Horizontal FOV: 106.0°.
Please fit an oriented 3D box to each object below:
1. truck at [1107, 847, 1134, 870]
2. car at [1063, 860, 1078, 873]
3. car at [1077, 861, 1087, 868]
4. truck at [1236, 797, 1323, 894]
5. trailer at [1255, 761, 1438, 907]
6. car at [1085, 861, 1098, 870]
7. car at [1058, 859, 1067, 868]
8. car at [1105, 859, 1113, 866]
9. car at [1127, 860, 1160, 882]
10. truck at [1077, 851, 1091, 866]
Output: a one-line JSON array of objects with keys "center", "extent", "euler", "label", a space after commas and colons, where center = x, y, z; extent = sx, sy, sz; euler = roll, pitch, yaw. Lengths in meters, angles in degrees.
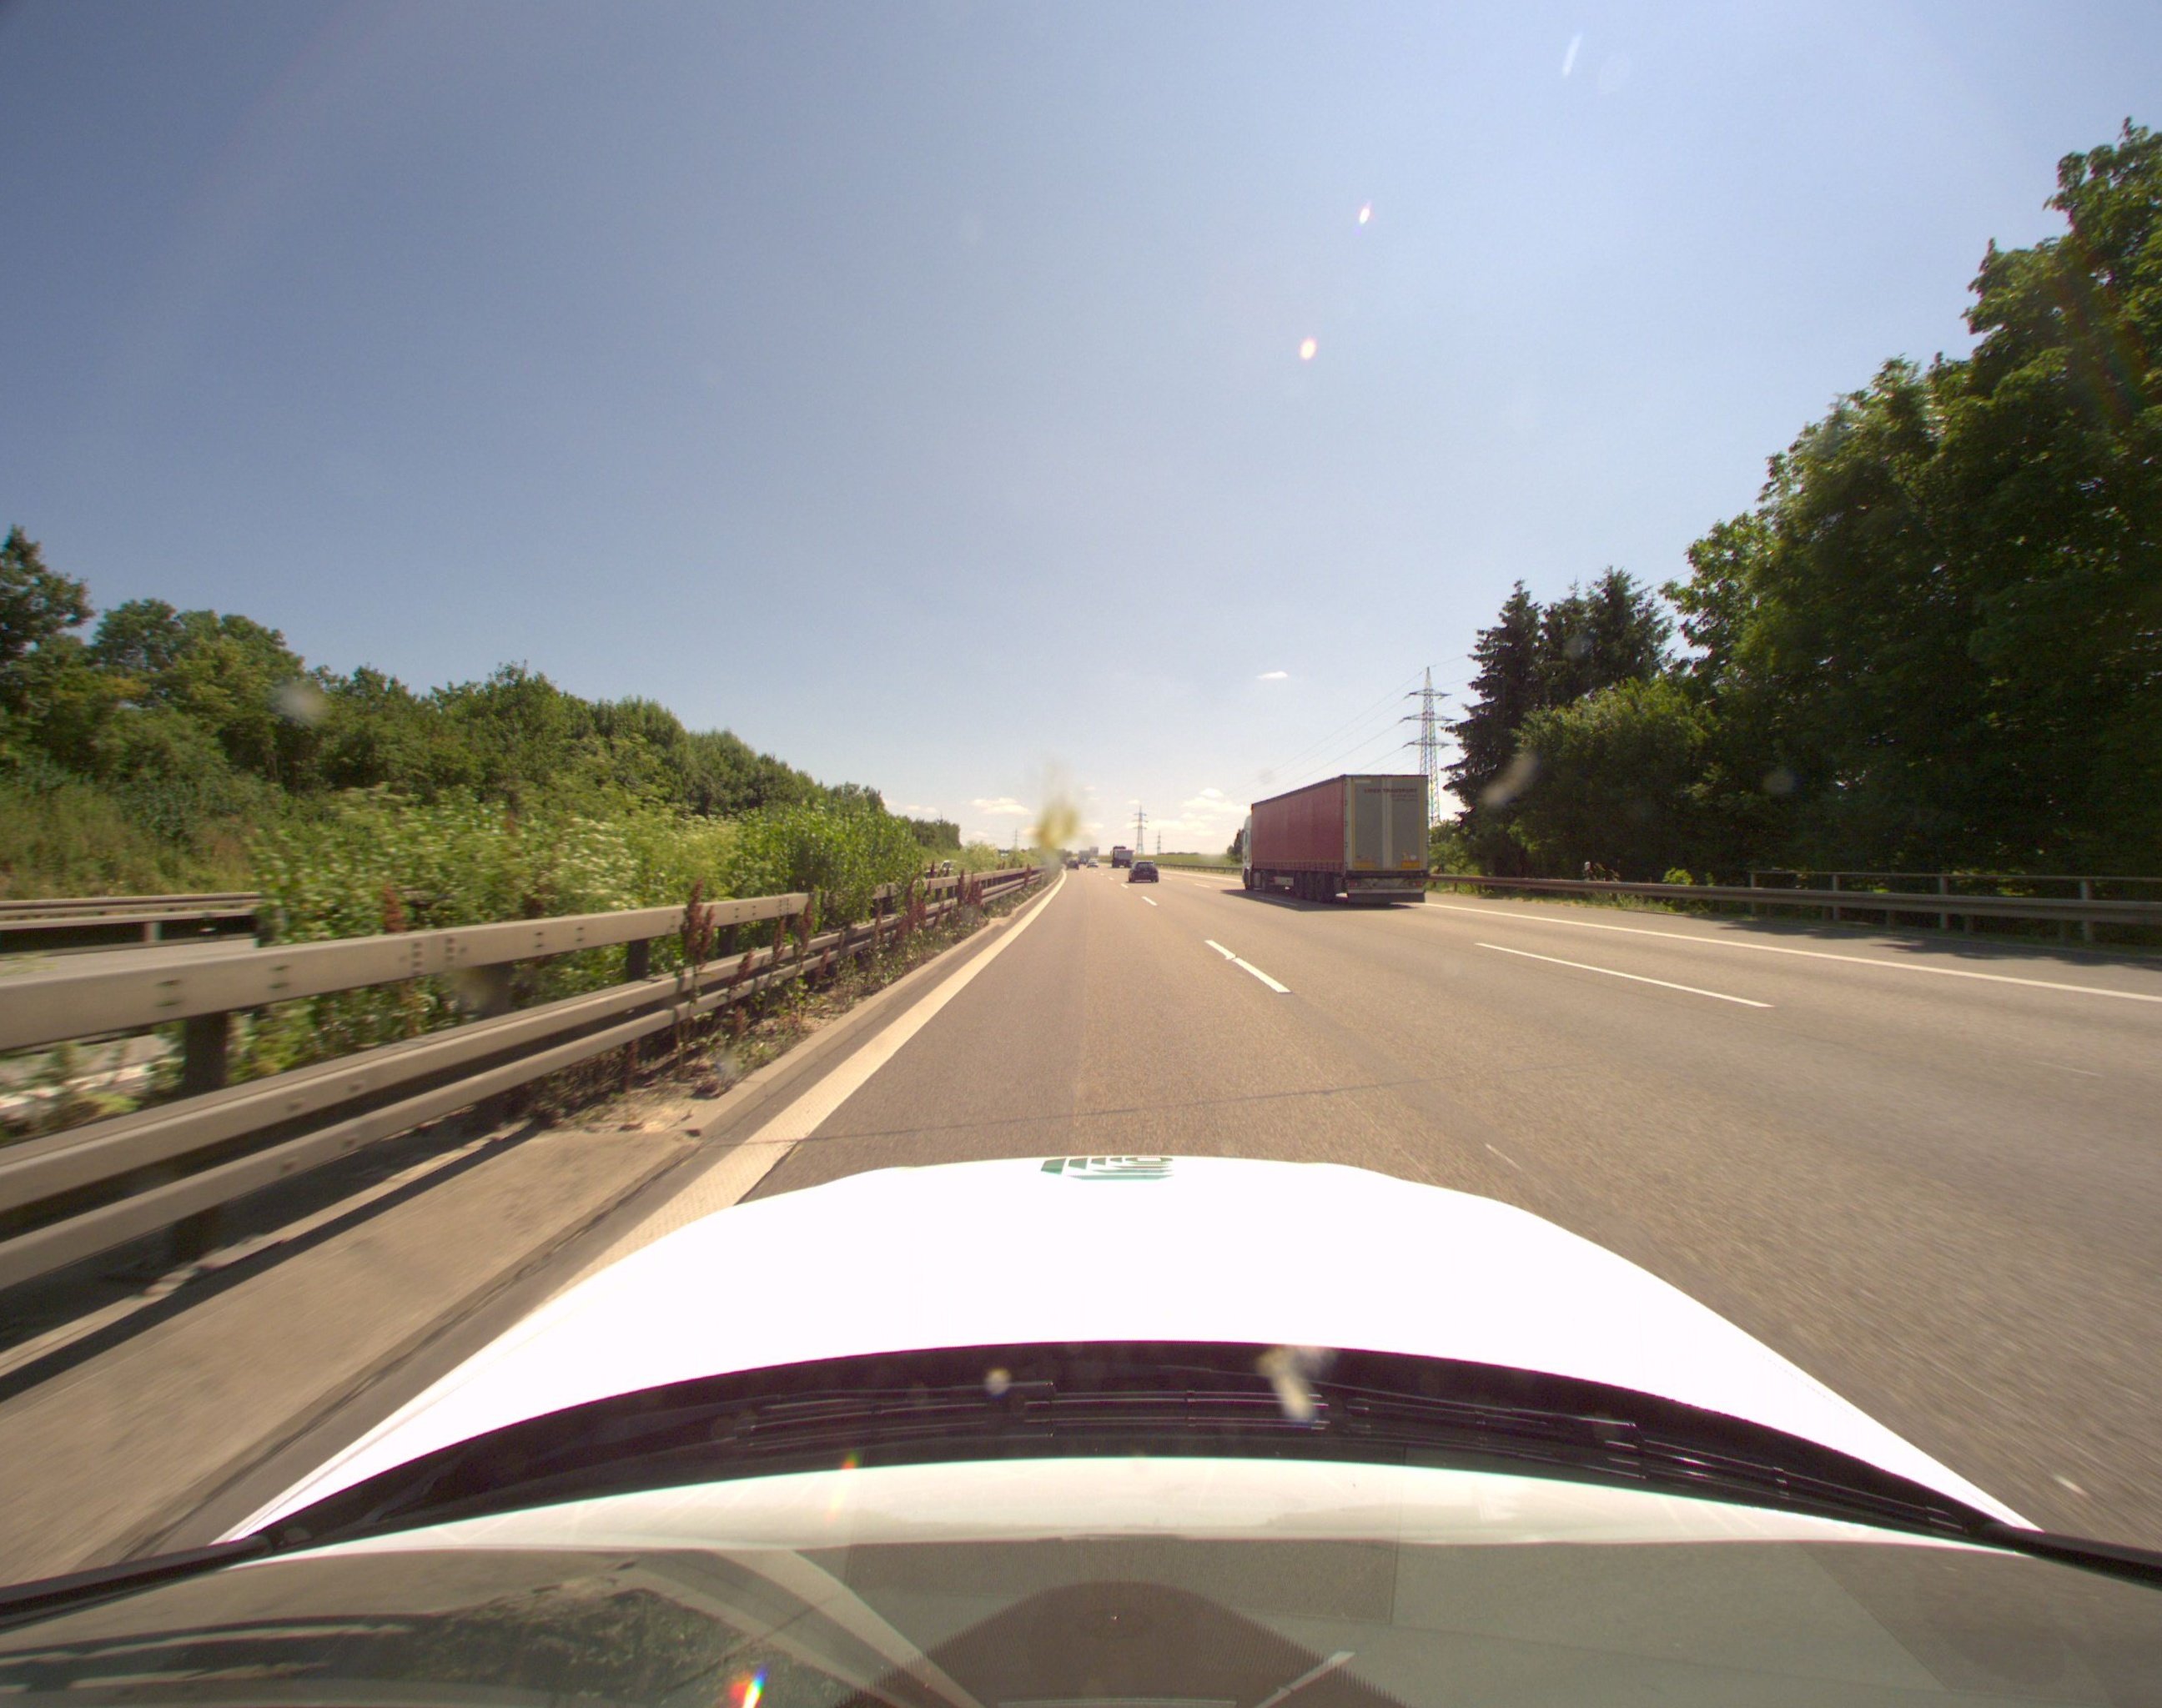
[{"center": [6.694, 0.753, 139.210], "extent": [2.861, 3.724, 12.737], "euler": [0, 0, -5], "label": "truck"}, {"center": [-1.568, 1.804, 118.727], "extent": [1.989, 1.860, 3.995], "euler": [0, -1, -4], "label": "car"}, {"center": [0.126, 2.266, 180.585], "extent": [1.836, 1.541, 3.907], "euler": [0, -1, -5], "label": "car"}, {"center": [9.149, -0.347, 38.194], "extent": [2.553, 4.154, 6.247], "euler": [0, -1, 0], "label": "truck"}, {"center": [9.162, -0.543, 30.330], "extent": [2.592, 4.264, 13.031], "euler": [0, -1, 0], "label": "trailer"}, {"center": [1.788, 1.978, 141.650], "extent": [1.818, 1.541, 3.904], "euler": [0, -1, -7], "label": "car"}, {"center": [-4.148, 2.089, 181.303], "extent": [1.896, 1.926, 3.998], "euler": [0, -1, -1], "label": "car"}, {"center": [7.618, 2.360, 222.670], "extent": [1.810, 2.014, 3.947], "euler": [0, -1, -5], "label": "car"}, {"center": [4.152, 1.118, 54.752], "extent": [1.752, 1.429, 3.996], "euler": [0, -1, -3], "label": "car"}, {"center": [0.814, 1.156, 222.570], "extent": [3.214, 3.924, 9.048], "euler": [0, -1, -3], "label": "truck"}]
